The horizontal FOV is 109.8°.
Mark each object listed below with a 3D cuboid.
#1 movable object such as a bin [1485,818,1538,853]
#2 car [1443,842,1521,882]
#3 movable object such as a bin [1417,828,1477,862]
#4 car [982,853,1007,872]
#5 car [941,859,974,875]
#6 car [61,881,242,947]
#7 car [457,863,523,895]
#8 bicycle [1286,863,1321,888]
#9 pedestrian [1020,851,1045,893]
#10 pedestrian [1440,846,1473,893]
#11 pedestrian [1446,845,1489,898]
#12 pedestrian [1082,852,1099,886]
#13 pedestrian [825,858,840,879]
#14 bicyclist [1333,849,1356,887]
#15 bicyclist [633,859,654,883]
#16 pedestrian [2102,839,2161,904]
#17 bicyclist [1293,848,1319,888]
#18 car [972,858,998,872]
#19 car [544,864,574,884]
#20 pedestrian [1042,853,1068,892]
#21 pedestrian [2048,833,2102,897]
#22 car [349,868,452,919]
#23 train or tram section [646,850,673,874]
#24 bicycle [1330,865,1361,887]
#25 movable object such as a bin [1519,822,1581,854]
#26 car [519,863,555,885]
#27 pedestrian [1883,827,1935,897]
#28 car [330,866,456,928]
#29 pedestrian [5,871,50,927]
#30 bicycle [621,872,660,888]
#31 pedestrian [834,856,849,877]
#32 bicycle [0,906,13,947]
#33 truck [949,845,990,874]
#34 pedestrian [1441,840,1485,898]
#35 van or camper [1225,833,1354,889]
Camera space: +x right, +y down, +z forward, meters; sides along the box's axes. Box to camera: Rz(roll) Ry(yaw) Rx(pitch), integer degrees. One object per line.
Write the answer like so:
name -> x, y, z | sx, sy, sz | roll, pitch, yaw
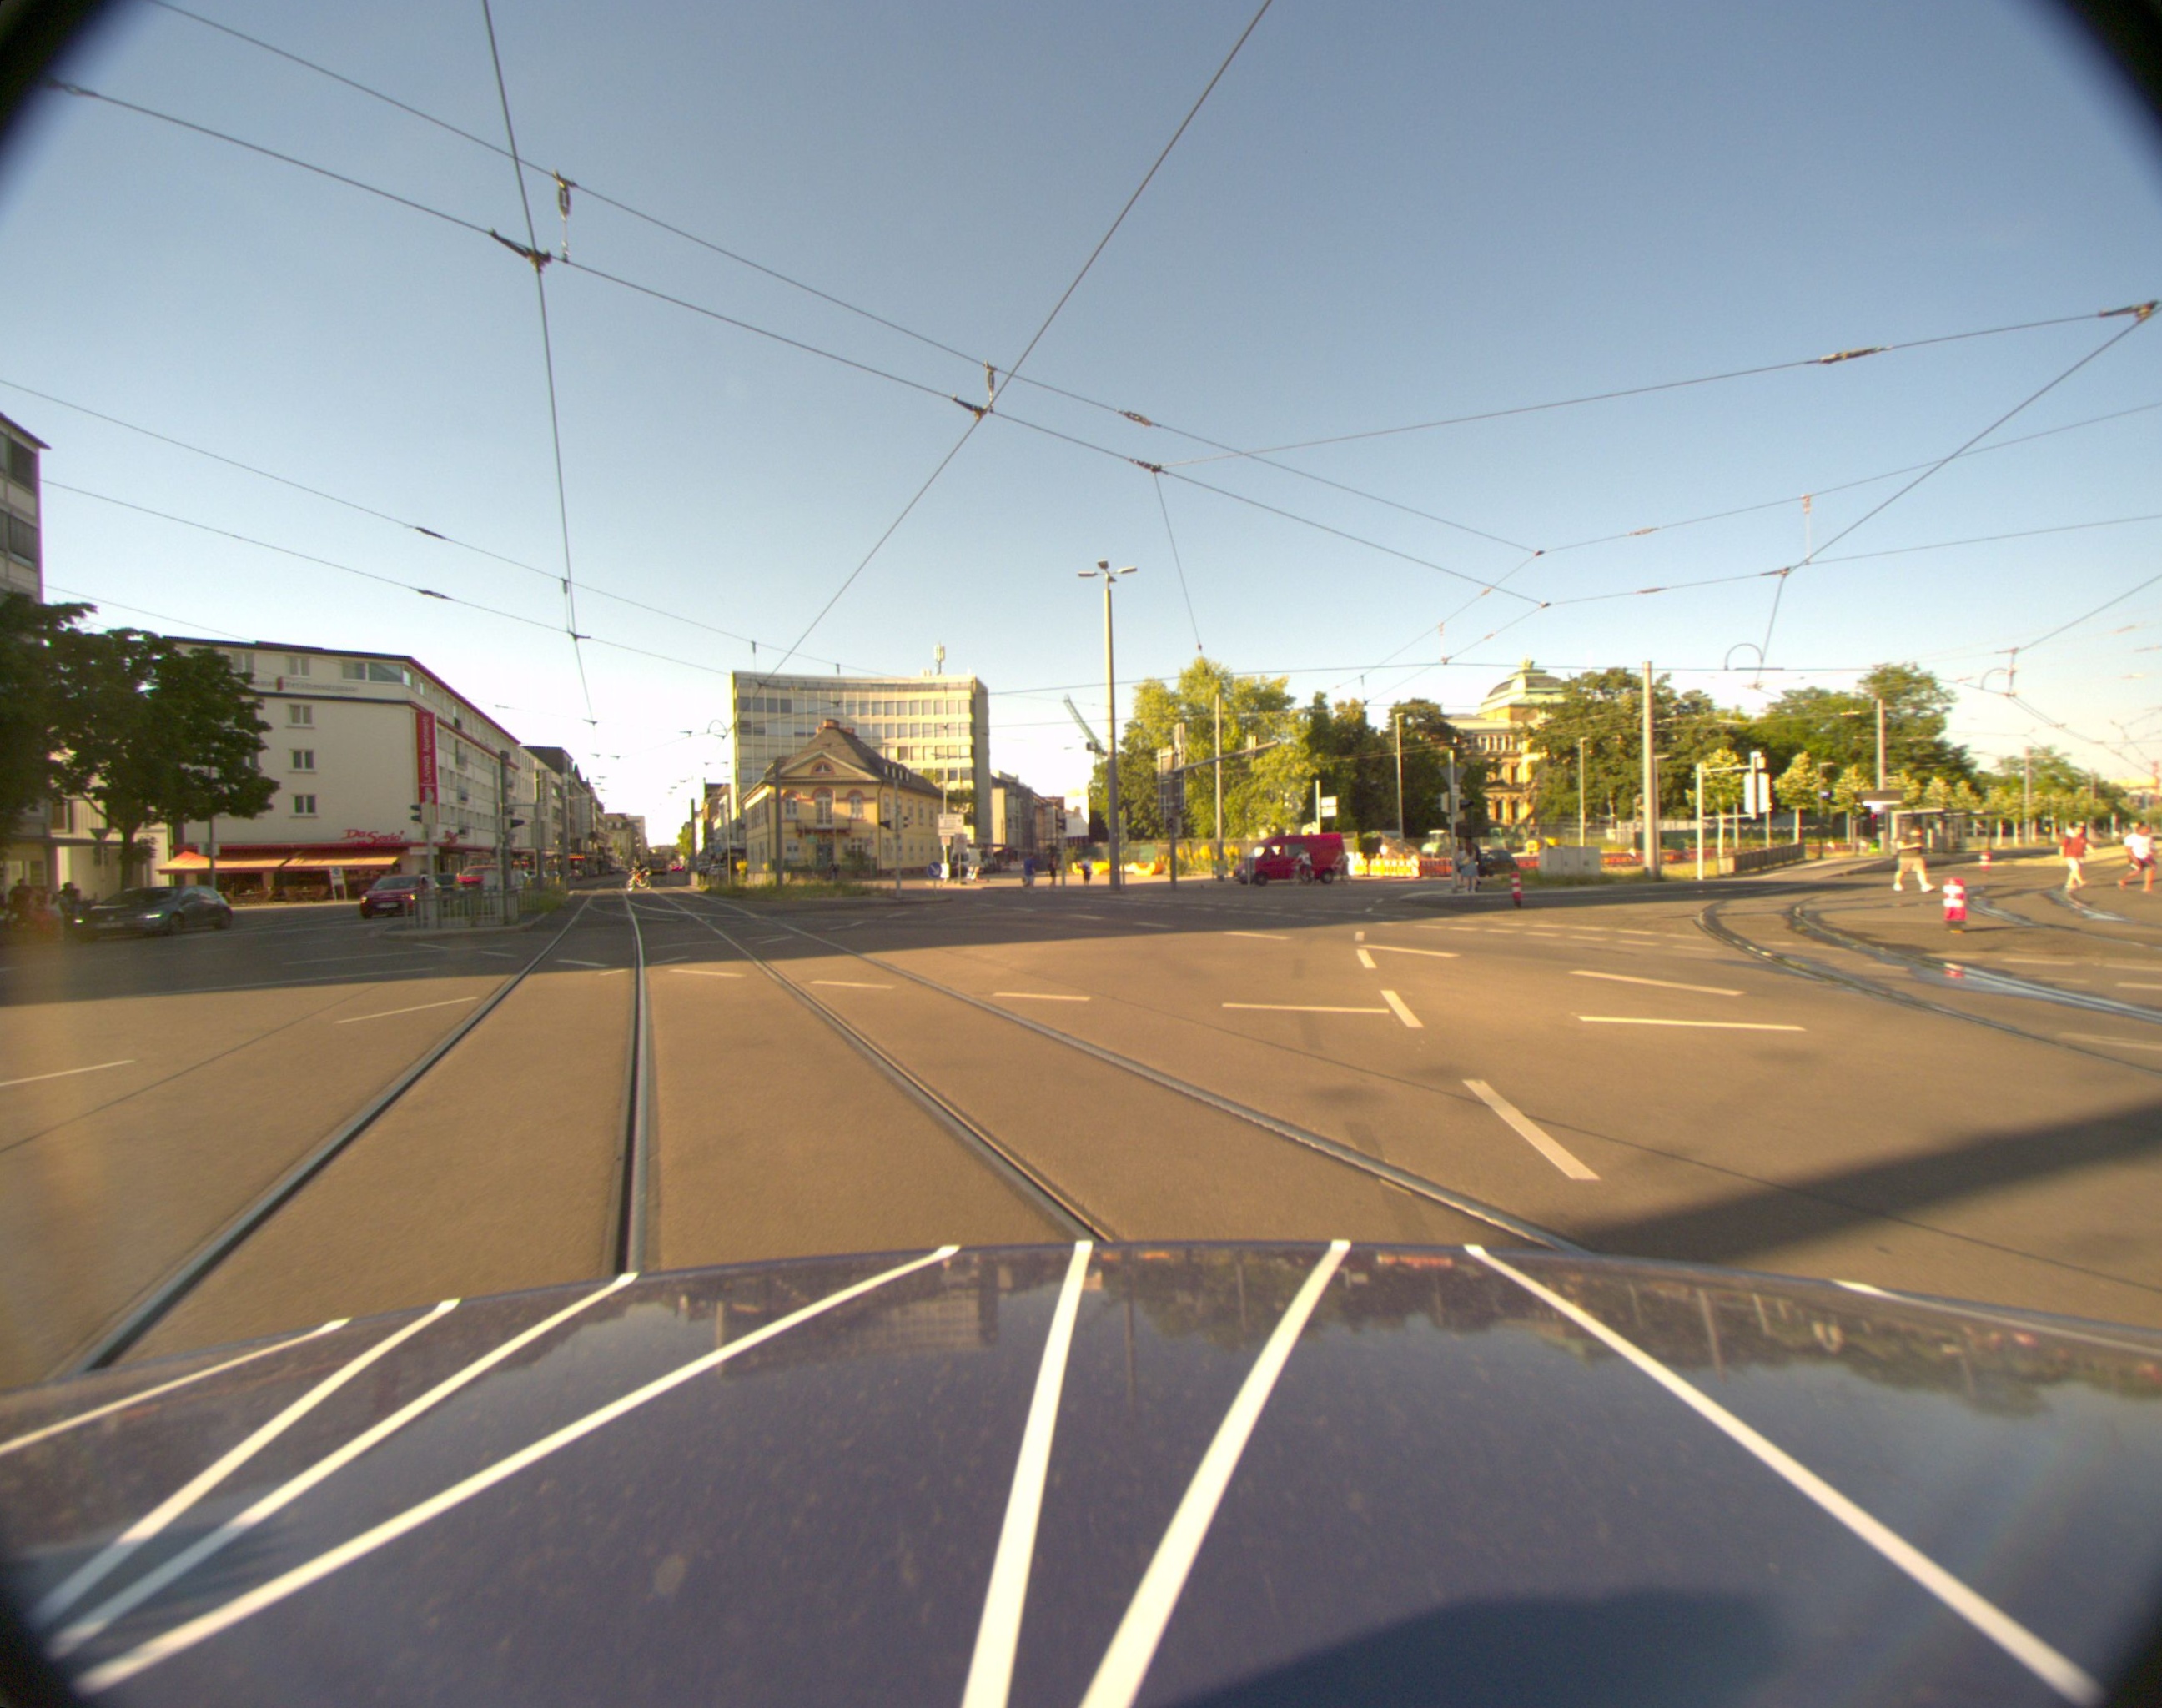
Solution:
movable object such as a bin -> 43.504, -1.908, 76.782 | 5.382, 3.309, 1.996 | -2, -1, -29
car -> 22.150, 0.429, 41.949 | 4.006, 2.001, 1.996 | -2, -1, -32
movable object such as a bin -> 30.860, -0.793, 64.035 | 5.021, 2.667, 1.996 | -2, -1, -29
car -> -9.494, 0.906, 83.579 | 1.712, 1.969, 3.765 | -2, -1, 8
car -> -10.972, 1.126, 67.829 | 1.712, 1.356, 4.198 | -2, -1, 8
car -> -26.421, 1.639, 21.818 | 1.847, 1.608, 4.073 | -2, -1, -28
car -> -37.544, 1.579, 48.422 | 1.905, 1.831, 4.620 | -2, -1, -19
bicycle -> 10.185, 0.973, 34.690 | 1.812, 1.094, 0.542 | -2, -1, -38
pedestrian -> -2.110, 0.765, 33.145 | 0.696, 1.782, 1.043 | -2, 0, 19
pedestrian -> 13.143, 0.547, 26.602 | 0.620, 1.630, 0.786 | -2, -1, -35
pedestrian -> 12.245, 0.548, 24.088 | 0.899, 1.631, 0.788 | -2, 0, 0
pedestrian -> 0.526, 0.808, 40.973 | 0.760, 1.751, 1.007 | -2, 0, -4
pedestrian -> -20.056, 1.197, 61.244 | 0.684, 1.632, 0.819 | -3, 0, 29
bicyclist -> 12.424, 0.652, 35.779 | 0.793, 1.735, 0.614 | -2, 0, -38
bicyclist -> -27.659, 1.072, 48.072 | 0.898, 1.448, 0.724 | -2, 0, -7
pedestrian -> 25.764, 0.444, 18.502 | 0.786, 1.538, 0.621 | -1, -4, 18
bicyclist -> 10.322, 0.632, 34.827 | 1.062, 1.757, 0.542 | -2, 0, -38
car -> -9.995, 1.165, 79.251 | 1.712, 1.356, 3.765 | -2, -1, 8
car -> -56.430, 2.215, 82.214 | 2.003, 2.001, 4.863 | -2, -1, -27
pedestrian -> -1.123, 0.796, 32.884 | 0.696, 1.672, 1.043 | -2, 0, 19
pedestrian -> 27.096, 0.298, 20.718 | 0.620, 1.688, 0.786 | -2, 0, -30
car -> -24.554, 1.397, 27.571 | 1.847, 1.608, 3.992 | -2, -1, -28
train or tram section -> -72.844, 1.306, 131.504 | 3.721, 3.811, 13.330 | -2, 1, -29
bicycle -> 12.483, 1.032, 35.854 | 1.697, 0.995, 0.542 | -2, -1, -38
movable object such as a bin -> 45.420, -1.560, 73.525 | 5.873, 2.799, 1.997 | -2, -1, -23
car -> -53.001, 1.944, 74.097 | 2.003, 2.001, 4.863 | -2, -1, -27
pedestrian -> 22.489, 0.215, 20.643 | 0.620, 1.853, 0.786 | -2, 0, -30
car -> -20.526, 1.245, 22.869 | 1.847, 1.608, 3.992 | -2, -1, -28
pedestrian -> -38.417, 1.632, 27.709 | 0.716, 2.001, 0.626 | -2, 0, -28
bicycle -> -27.823, 1.633, 48.046 | 1.991, 0.942, 0.724 | -2, -1, -7
pedestrian -> -19.554, 1.017, 62.074 | 0.684, 1.632, 0.819 | -3, 0, 30
bicycle -> -31.382, 2.020, 20.616 | 2.646, 1.136, 0.750 | 2, -3, -39
truck -> -10.742, 0.539, 73.535 | 2.298, 2.533, 5.643 | -2, -1, 8
pedestrian -> 12.281, 0.473, 24.449 | 0.900, 1.791, 0.787 | -4, 1, -9
van or camper -> 10.454, 0.333, 38.202 | 5.916, 2.514, 1.998 | -2, -1, -13
